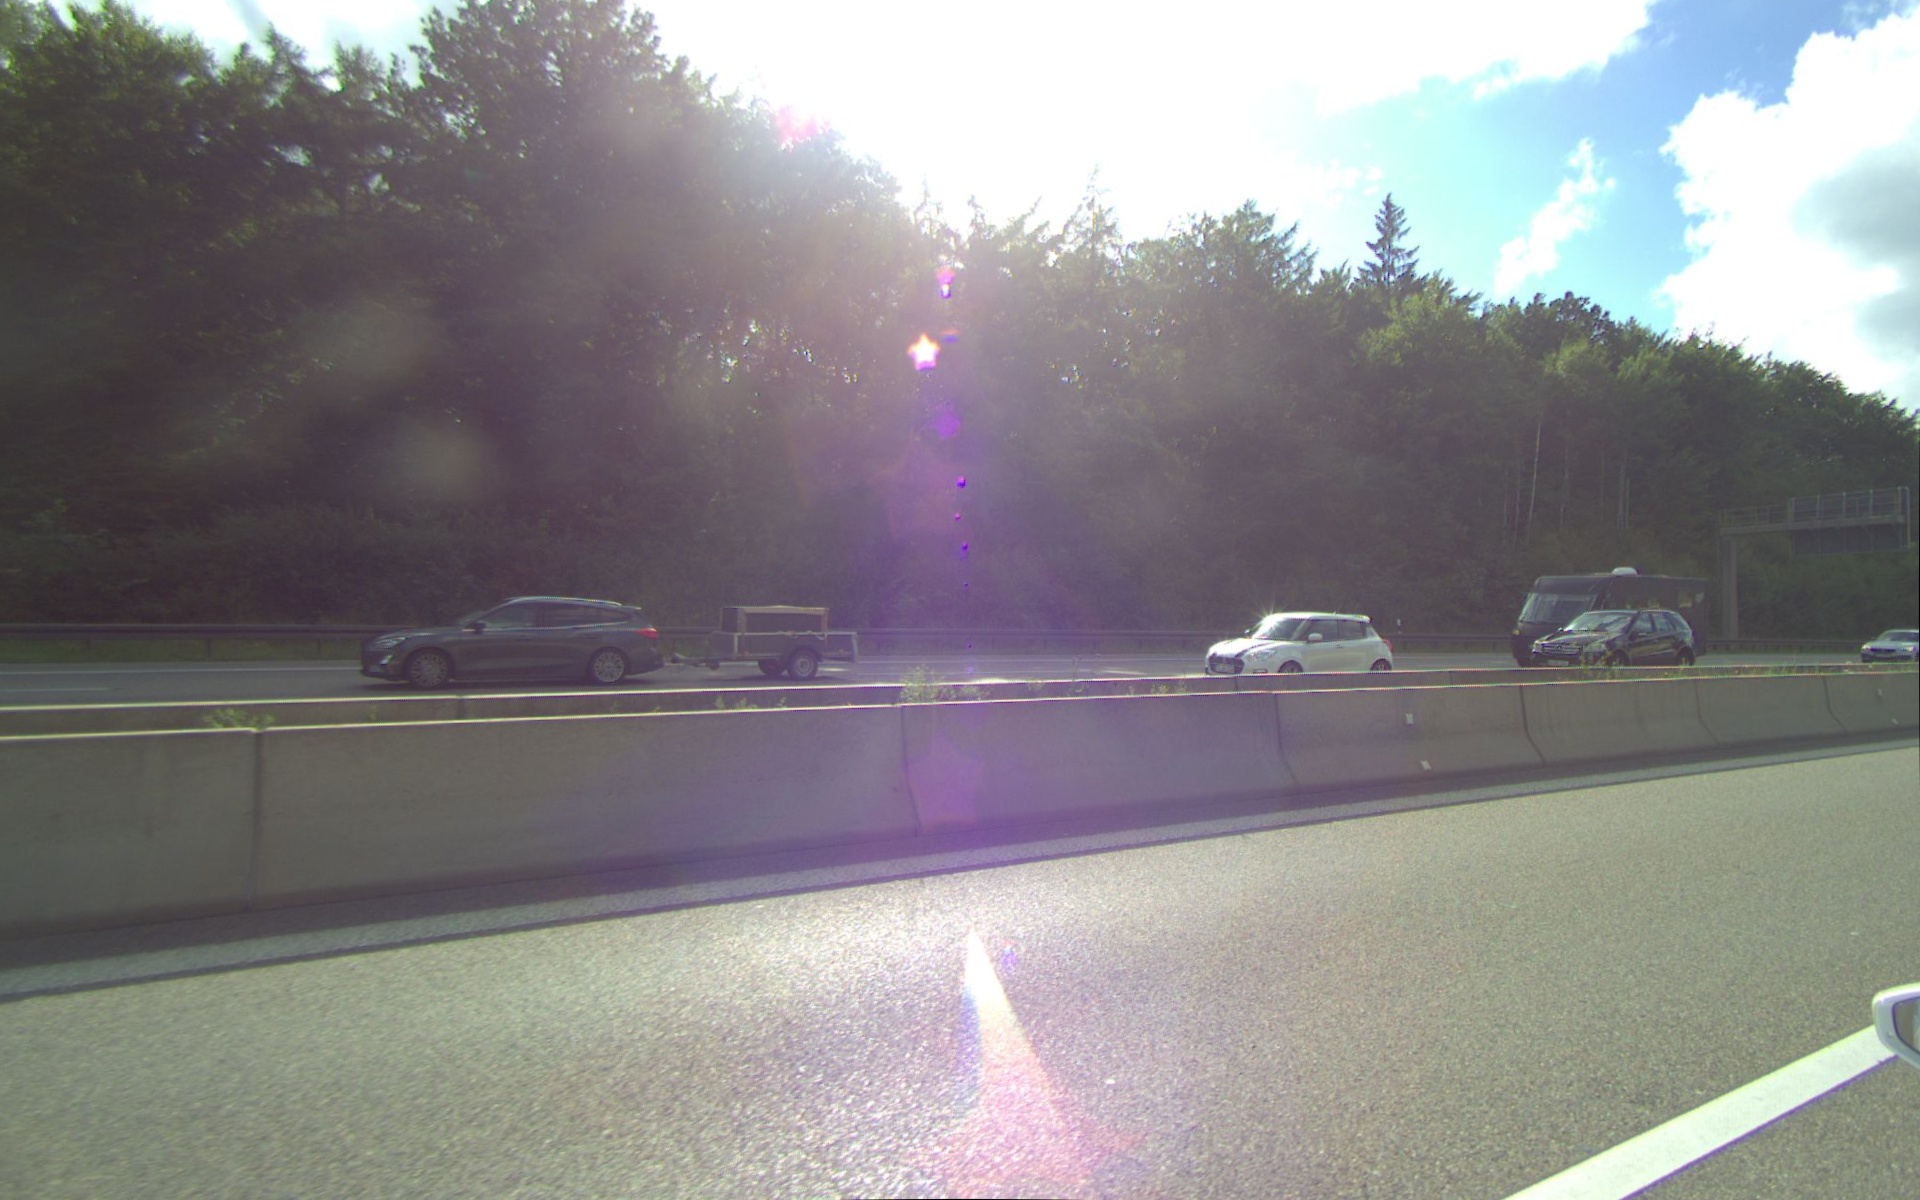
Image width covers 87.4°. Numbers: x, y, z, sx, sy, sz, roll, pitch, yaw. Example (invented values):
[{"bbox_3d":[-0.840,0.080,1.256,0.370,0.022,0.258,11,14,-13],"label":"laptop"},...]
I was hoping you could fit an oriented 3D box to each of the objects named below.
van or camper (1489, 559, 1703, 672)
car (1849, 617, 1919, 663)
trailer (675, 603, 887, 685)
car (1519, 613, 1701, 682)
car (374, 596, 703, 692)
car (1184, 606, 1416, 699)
[{"bbox_3d":[19.751,0.494,31.062,7.248,3.167,2.546,1,0,-30],"label":"van or camper"},{"bbox_3d":[38.638,1.617,41.250,4.204,1.767,1.838,1,0,-28],"label":"car"},{"bbox_3d":[-3.408,0.814,19.323,3.670,1.432,1.649,1,0,-33],"label":"trailer"},{"bbox_3d":[16.184,1.139,24.956,4.647,1.560,1.913,1,0,-30],"label":"car"},{"bbox_3d":[-7.024,0.699,16.962,4.883,1.408,1.802,1,0,-33],"label":"car"},{"bbox_3d":[6.478,0.947,19.033,4.265,1.555,1.806,1,0,-30],"label":"car"}]
